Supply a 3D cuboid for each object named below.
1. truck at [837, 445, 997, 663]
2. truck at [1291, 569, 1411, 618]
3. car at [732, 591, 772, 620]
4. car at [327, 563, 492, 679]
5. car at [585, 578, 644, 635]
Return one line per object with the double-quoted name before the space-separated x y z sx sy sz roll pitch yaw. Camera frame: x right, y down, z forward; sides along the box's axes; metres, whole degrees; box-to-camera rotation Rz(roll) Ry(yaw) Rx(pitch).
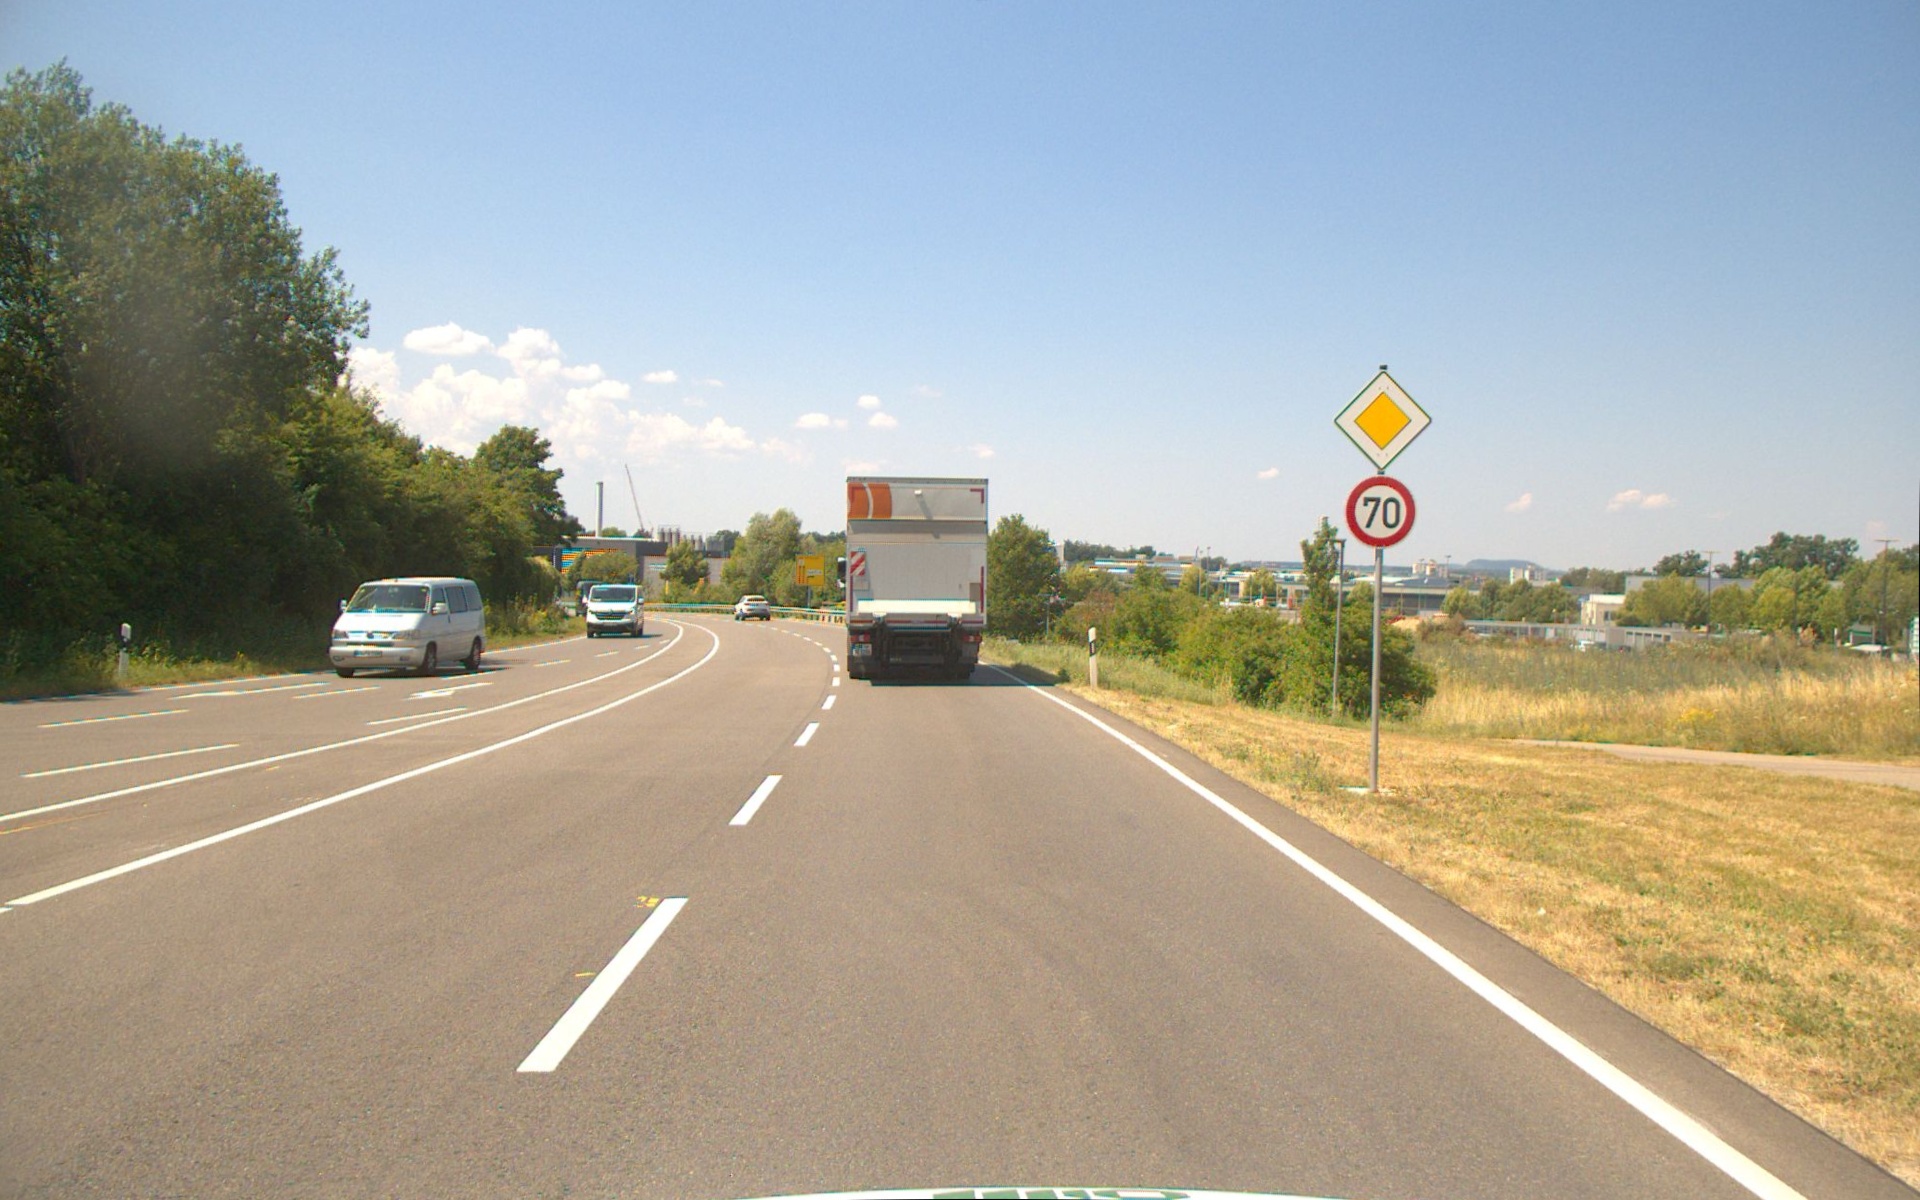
"truck" -0.952 -0.918 33.485 2.747 3.775 9.104 -1 1 -3
"truck" 32.750 -0.580 138.643 9.207 3.748 3.128 2 2 27
"car" -12.856 0.357 102.109 1.911 1.693 3.985 1 -1 -14
"car" -11.102 0.348 33.719 1.934 2.048 4.839 2 2 -3
"car" -13.201 0.197 63.482 2.038 2.048 5.793 0 1 -10
